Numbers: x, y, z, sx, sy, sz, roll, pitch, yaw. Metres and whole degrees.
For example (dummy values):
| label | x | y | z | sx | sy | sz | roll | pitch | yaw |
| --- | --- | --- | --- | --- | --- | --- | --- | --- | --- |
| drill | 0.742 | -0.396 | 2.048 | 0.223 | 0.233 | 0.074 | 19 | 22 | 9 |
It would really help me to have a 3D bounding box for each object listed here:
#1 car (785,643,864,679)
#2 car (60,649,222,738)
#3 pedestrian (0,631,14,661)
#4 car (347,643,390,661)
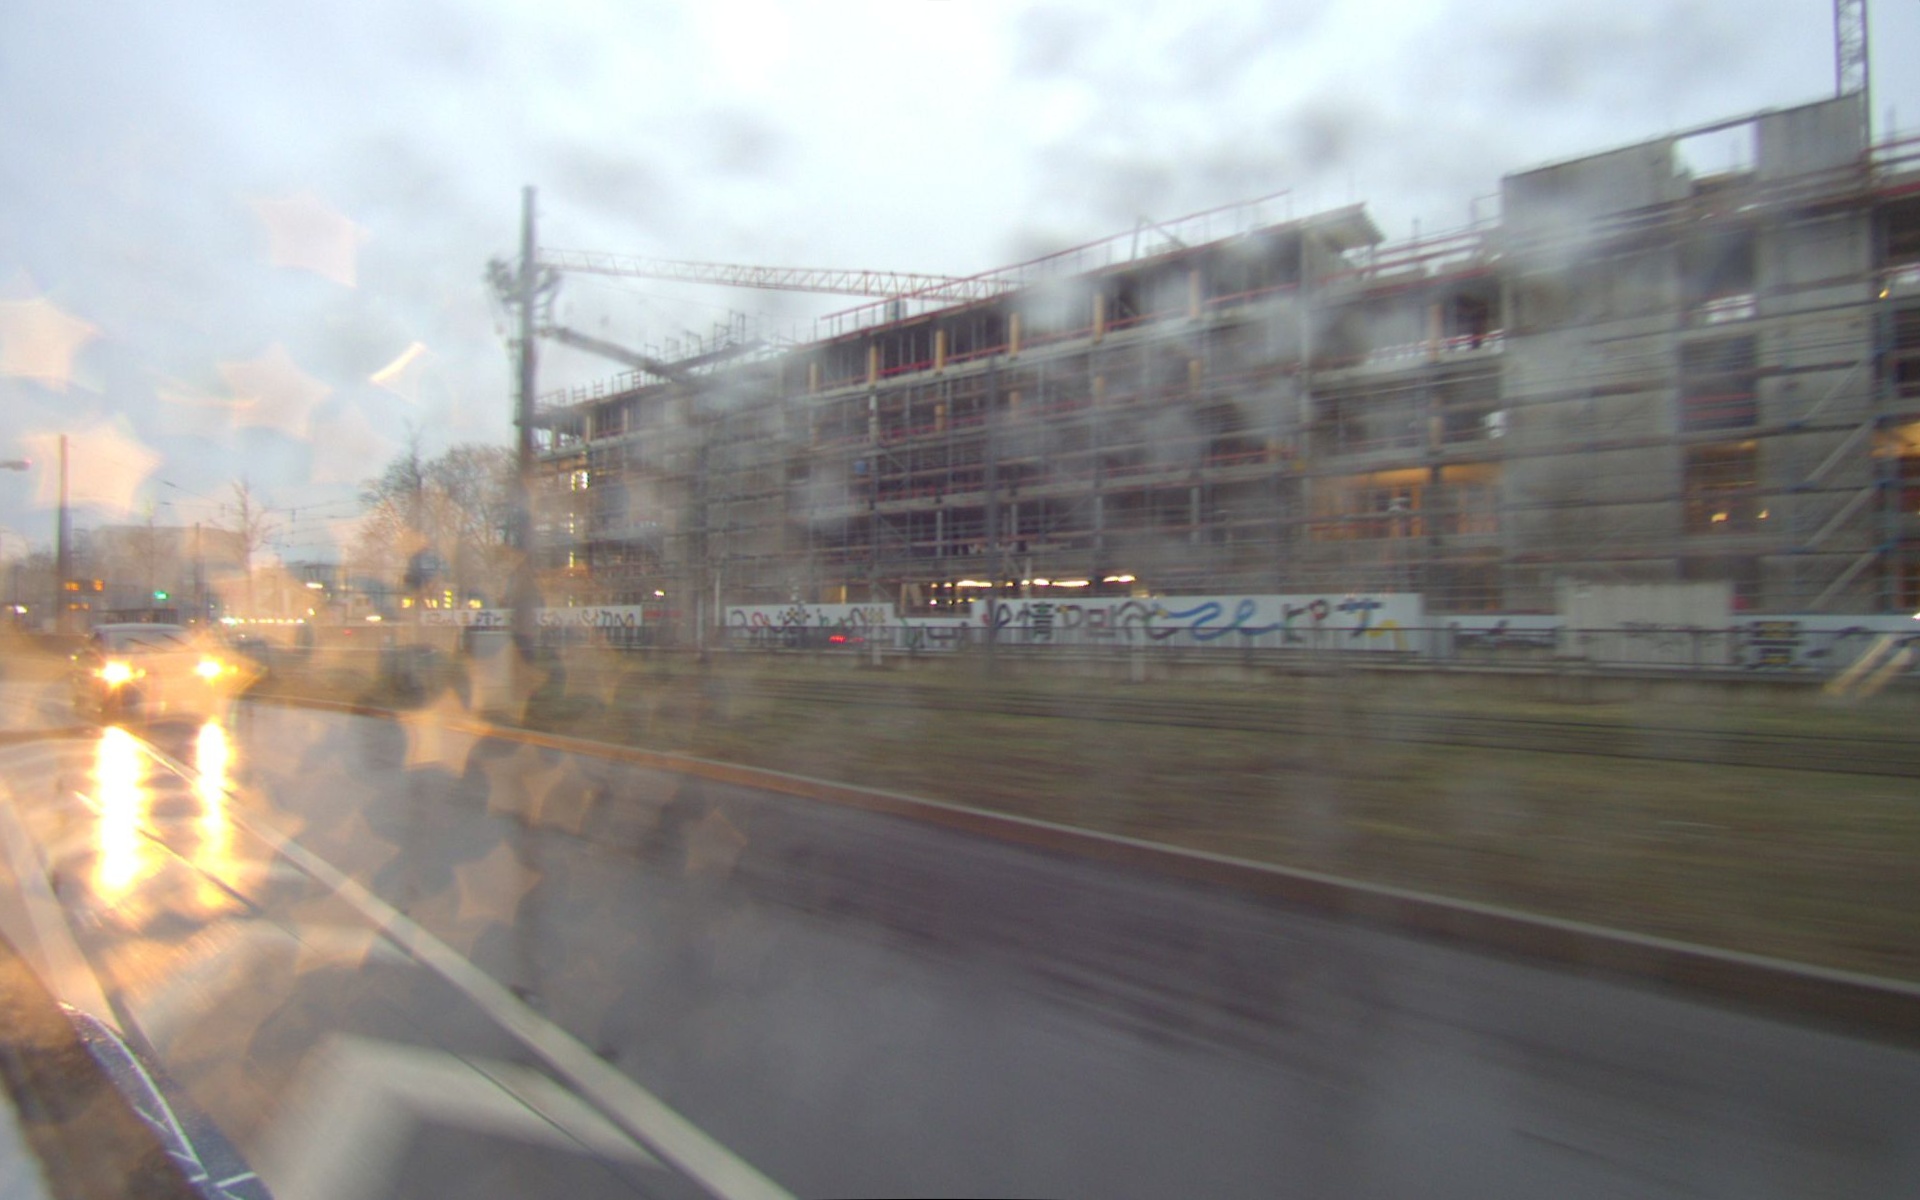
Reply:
| label | x | y | z | sx | sy | sz | roll | pitch | yaw |
| --- | --- | --- | --- | --- | --- | --- | --- | --- | --- |
| car | -6.673 | 2.970 | 49.682 | 3.761 | 1.675 | 1.736 | -2 | -4 | 40 |
| car | -15.505 | 1.673 | 19.083 | 4.004 | 1.464 | 1.785 | -2 | -4 | 43 |
| pedestrian | -56.074 | 2.688 | 59.534 | 0.577 | 1.714 | 0.741 | 1 | -2 | -41 |
| car | -49.197 | 4.292 | 84.128 | 4.335 | 1.425 | 1.666 | -2 | -2 | 39 |
